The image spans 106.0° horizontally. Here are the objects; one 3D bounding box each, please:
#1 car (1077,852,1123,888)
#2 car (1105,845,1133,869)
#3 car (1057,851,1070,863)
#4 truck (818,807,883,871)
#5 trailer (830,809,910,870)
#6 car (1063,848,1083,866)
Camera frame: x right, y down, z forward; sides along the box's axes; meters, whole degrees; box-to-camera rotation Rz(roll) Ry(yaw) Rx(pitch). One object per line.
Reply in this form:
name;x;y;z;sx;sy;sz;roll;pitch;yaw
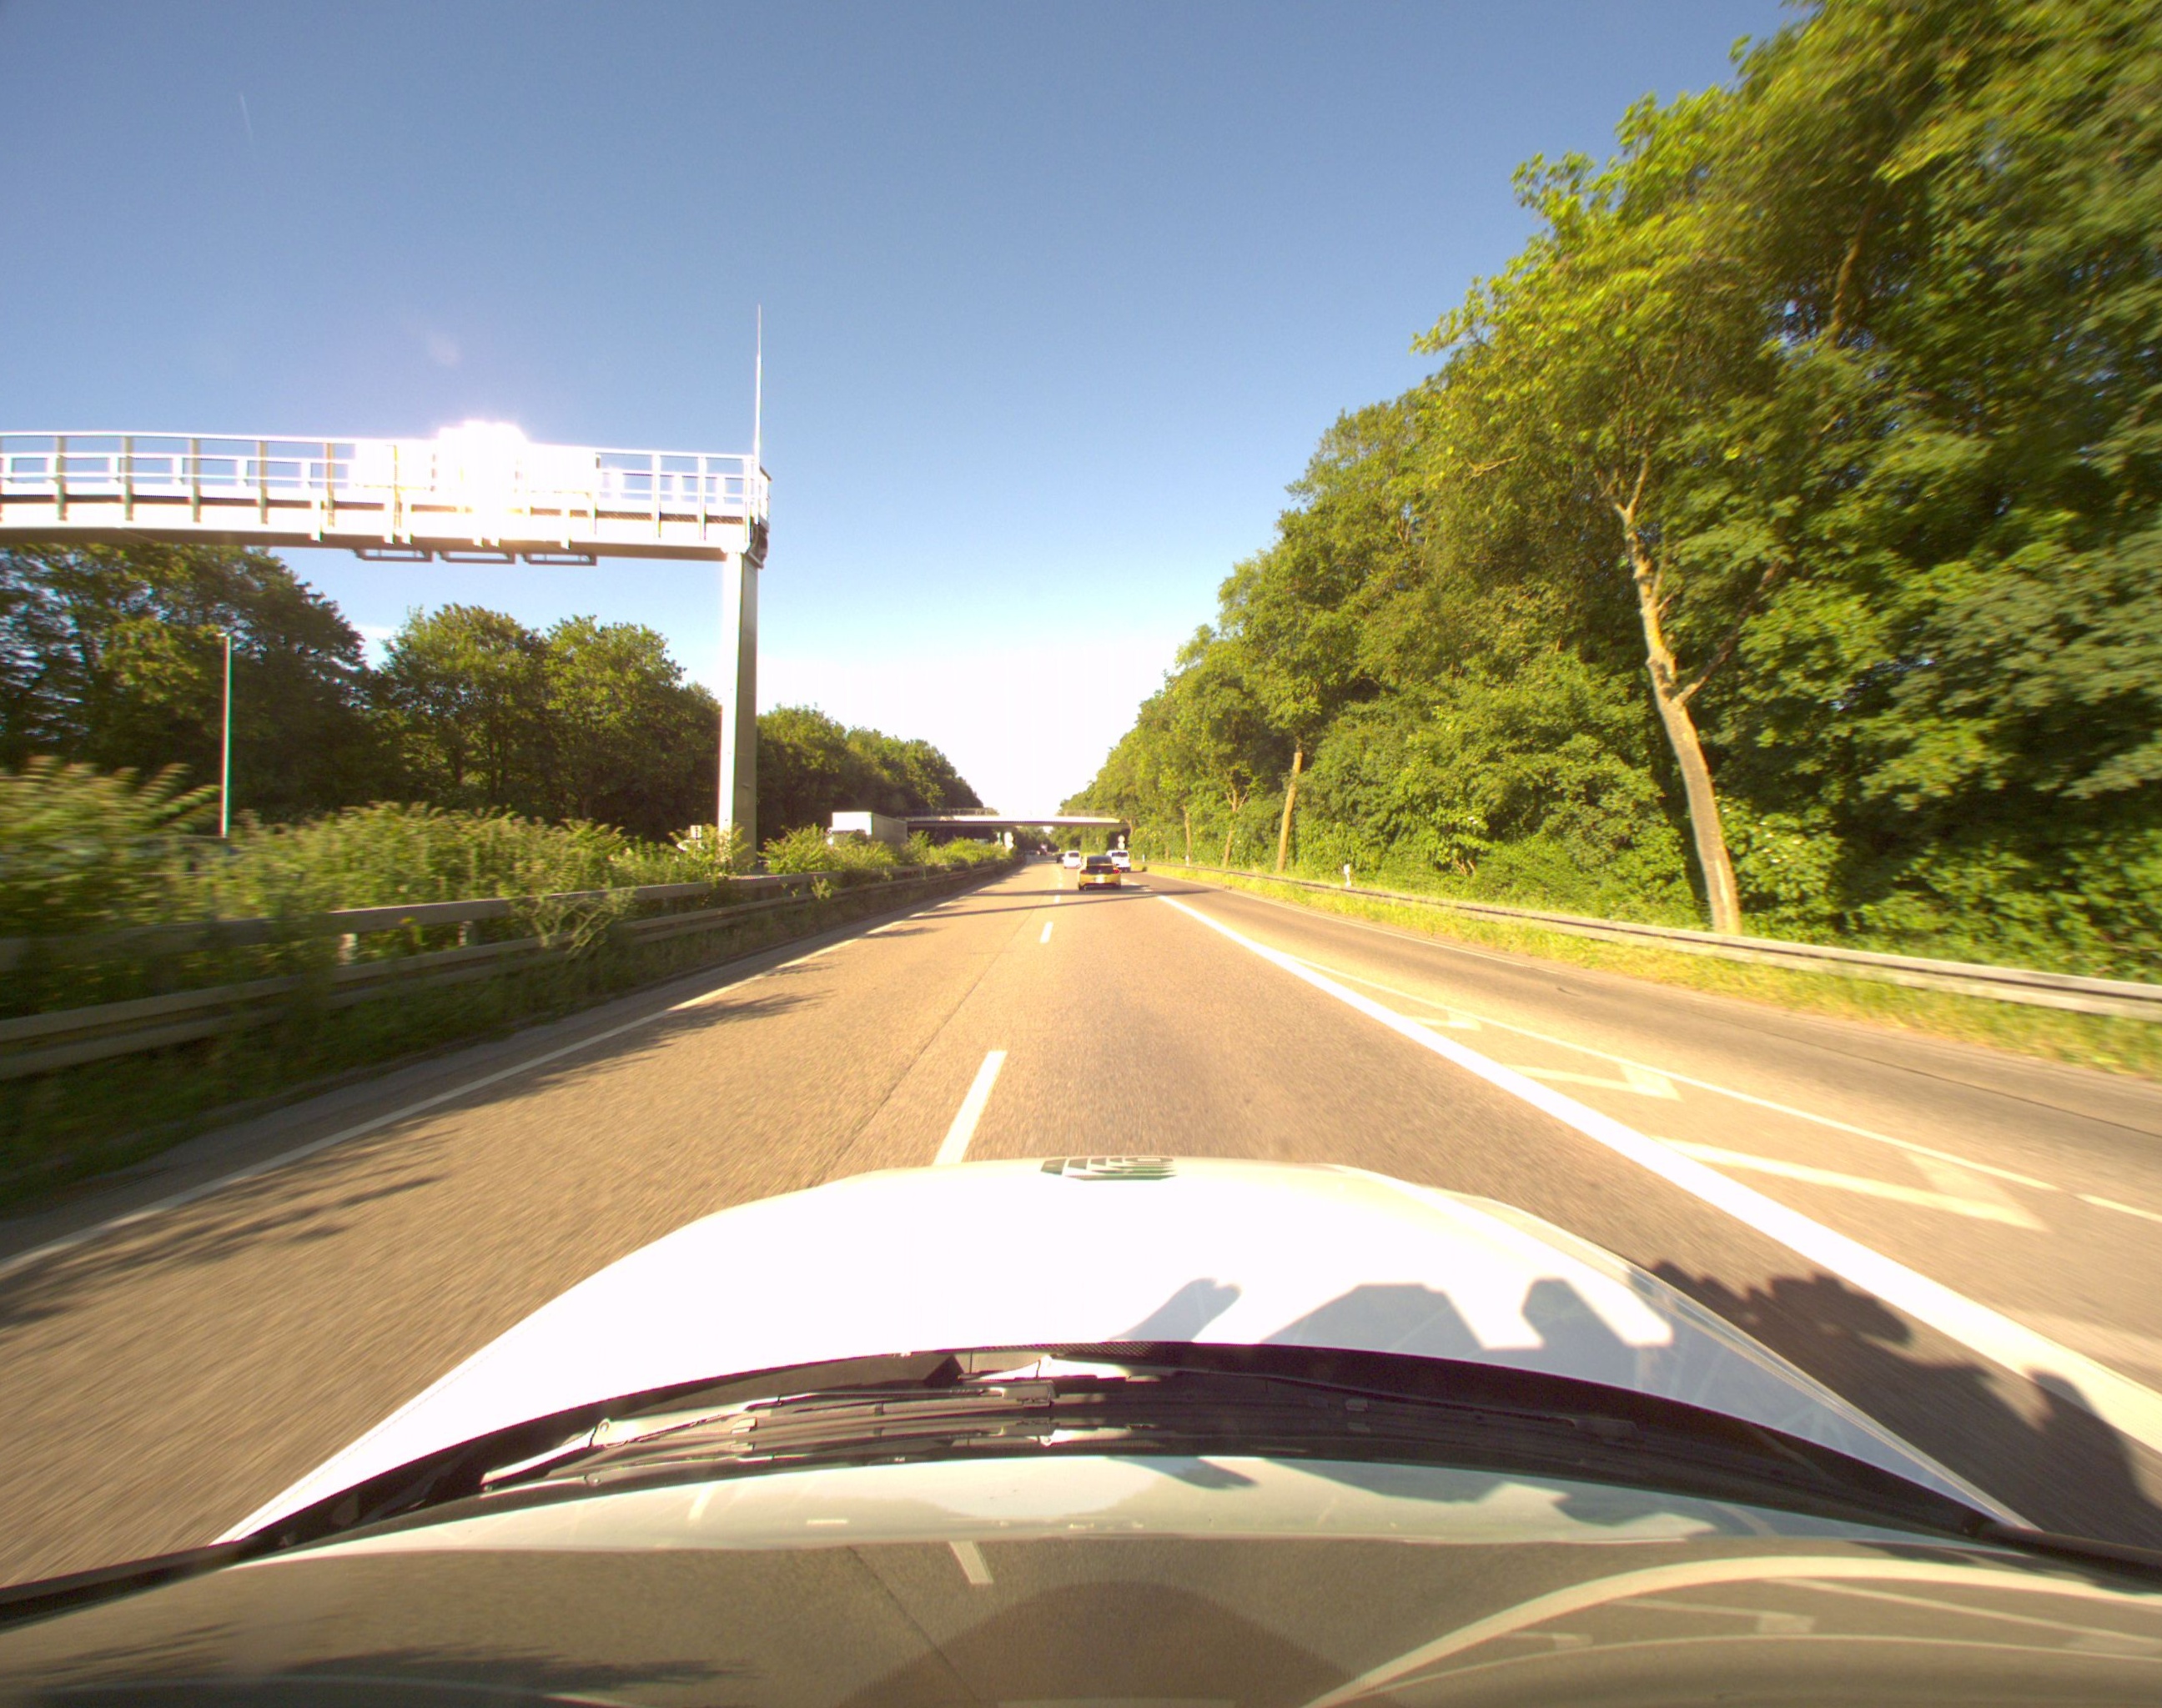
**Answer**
car;0.793;0.660;35.723;1.891;1.471;4.000;-1;0;0
car;2.955;0.266;64.777;1.892;1.824;3.997;-1;0;-2
car;-2.684;0.398;122.483;1.892;1.767;3.997;-1;0;-2
truck;-15.367;-0.972;54.675;2.731;4.027;6.175;1;0;-2
trailer;-15.565;-0.956;61.303;2.731;4.027;14.064;1;0;-2
car;-0.856;0.278;82.809;1.892;1.767;3.996;-1;0;-3
